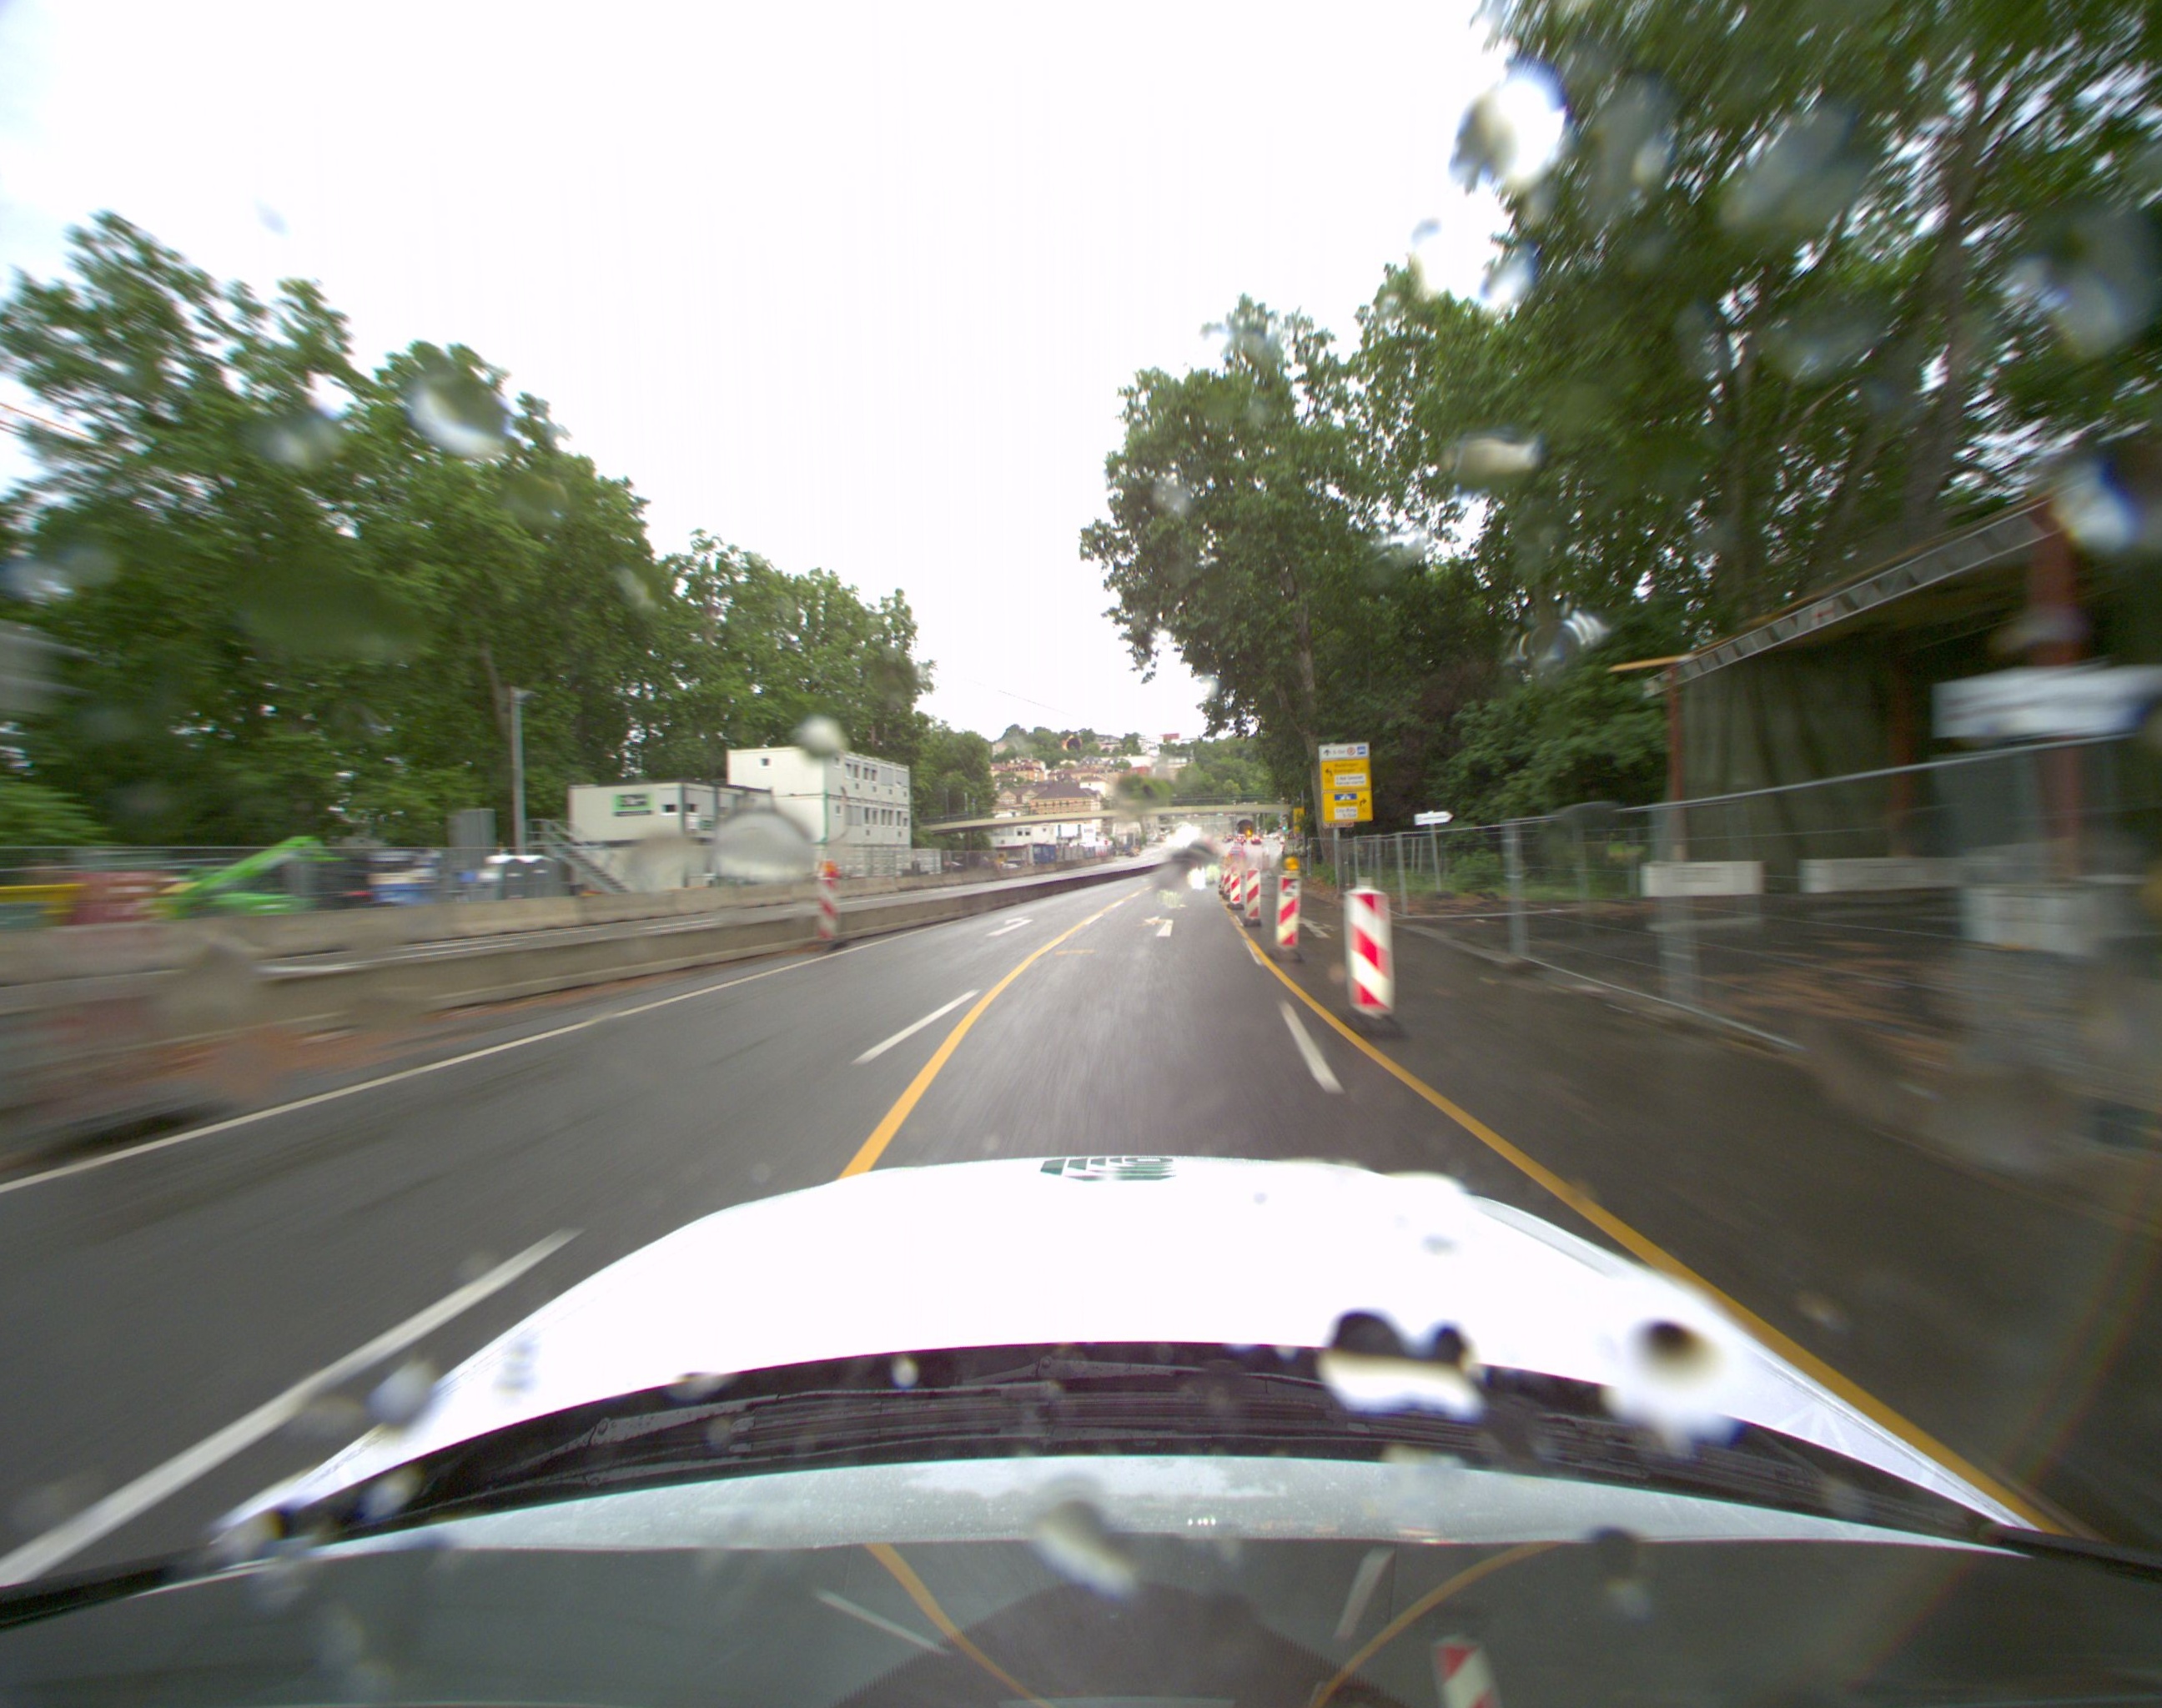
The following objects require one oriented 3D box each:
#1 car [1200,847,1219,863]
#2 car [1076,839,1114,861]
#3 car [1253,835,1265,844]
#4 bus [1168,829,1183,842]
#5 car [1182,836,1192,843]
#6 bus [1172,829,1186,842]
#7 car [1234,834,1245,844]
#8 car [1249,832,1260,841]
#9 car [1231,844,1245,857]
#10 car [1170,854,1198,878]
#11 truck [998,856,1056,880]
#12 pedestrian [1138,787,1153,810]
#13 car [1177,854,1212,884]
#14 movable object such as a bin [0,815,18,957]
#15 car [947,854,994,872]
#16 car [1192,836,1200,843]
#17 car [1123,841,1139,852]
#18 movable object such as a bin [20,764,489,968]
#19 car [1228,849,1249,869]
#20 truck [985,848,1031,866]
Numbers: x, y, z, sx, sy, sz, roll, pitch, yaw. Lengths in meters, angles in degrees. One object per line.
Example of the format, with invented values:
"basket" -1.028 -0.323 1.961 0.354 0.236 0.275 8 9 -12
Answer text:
"car" 17.082 0.124 108.147 1.979 2.014 4.015 -3 -1 14
"car" 2.018 -0.544 114.842 1.974 2.875 6.091 -3 -1 38
"car" 36.407 -3.029 166.563 1.981 1.698 4.011 -3 -1 10
"bus" 23.900 -4.684 205.316 2.788 3.184 8.836 -3 0 11
"car" 25.274 -3.467 194.266 2.068 1.630 4.868 -3 1 11
"bus" 25.783 -4.815 214.344 2.685 3.151 9.180 -2 0 11
"car" 31.847 -2.974 163.508 1.981 1.869 4.011 -3 -1 10
"car" 36.740 -3.684 172.823 1.981 1.698 4.011 -3 -1 10
"car" 24.911 -0.526 129.269 2.038 2.014 4.012 -3 -1 11
"car" 8.947 1.016 70.781 2.003 2.014 4.013 -3 -1 12
"truck" -6.139 1.629 93.137 6.248 2.452 2.697 -3 -1 4
"pedestrian" 6.195 -5.291 77.848 1.138 2.060 1.064 -3 -1 19
"car" 6.374 0.833 46.082 1.803 1.527 4.008 -3 0 7
"movable object such as a bin" -26.304 0.777 15.374 3.908 3.128 6.406 -3 -1 10
"car" -11.301 0.940 83.643 4.405 1.627 1.961 -3 0 2
"car" 29.902 -3.758 211.616 1.697 1.489 3.463 -3 -1 13
"car" 8.891 -1.366 145.610 1.979 1.621 4.017 -2 2 15
"movable object such as a bin" -23.352 0.349 24.064 4.721 4.803 8.382 -3 -1 10
"car" 17.794 0.569 91.879 2.091 2.050 4.013 -3 -1 11
"truck" -9.025 0.369 101.355 5.219 2.013 2.168 -3 0 7
